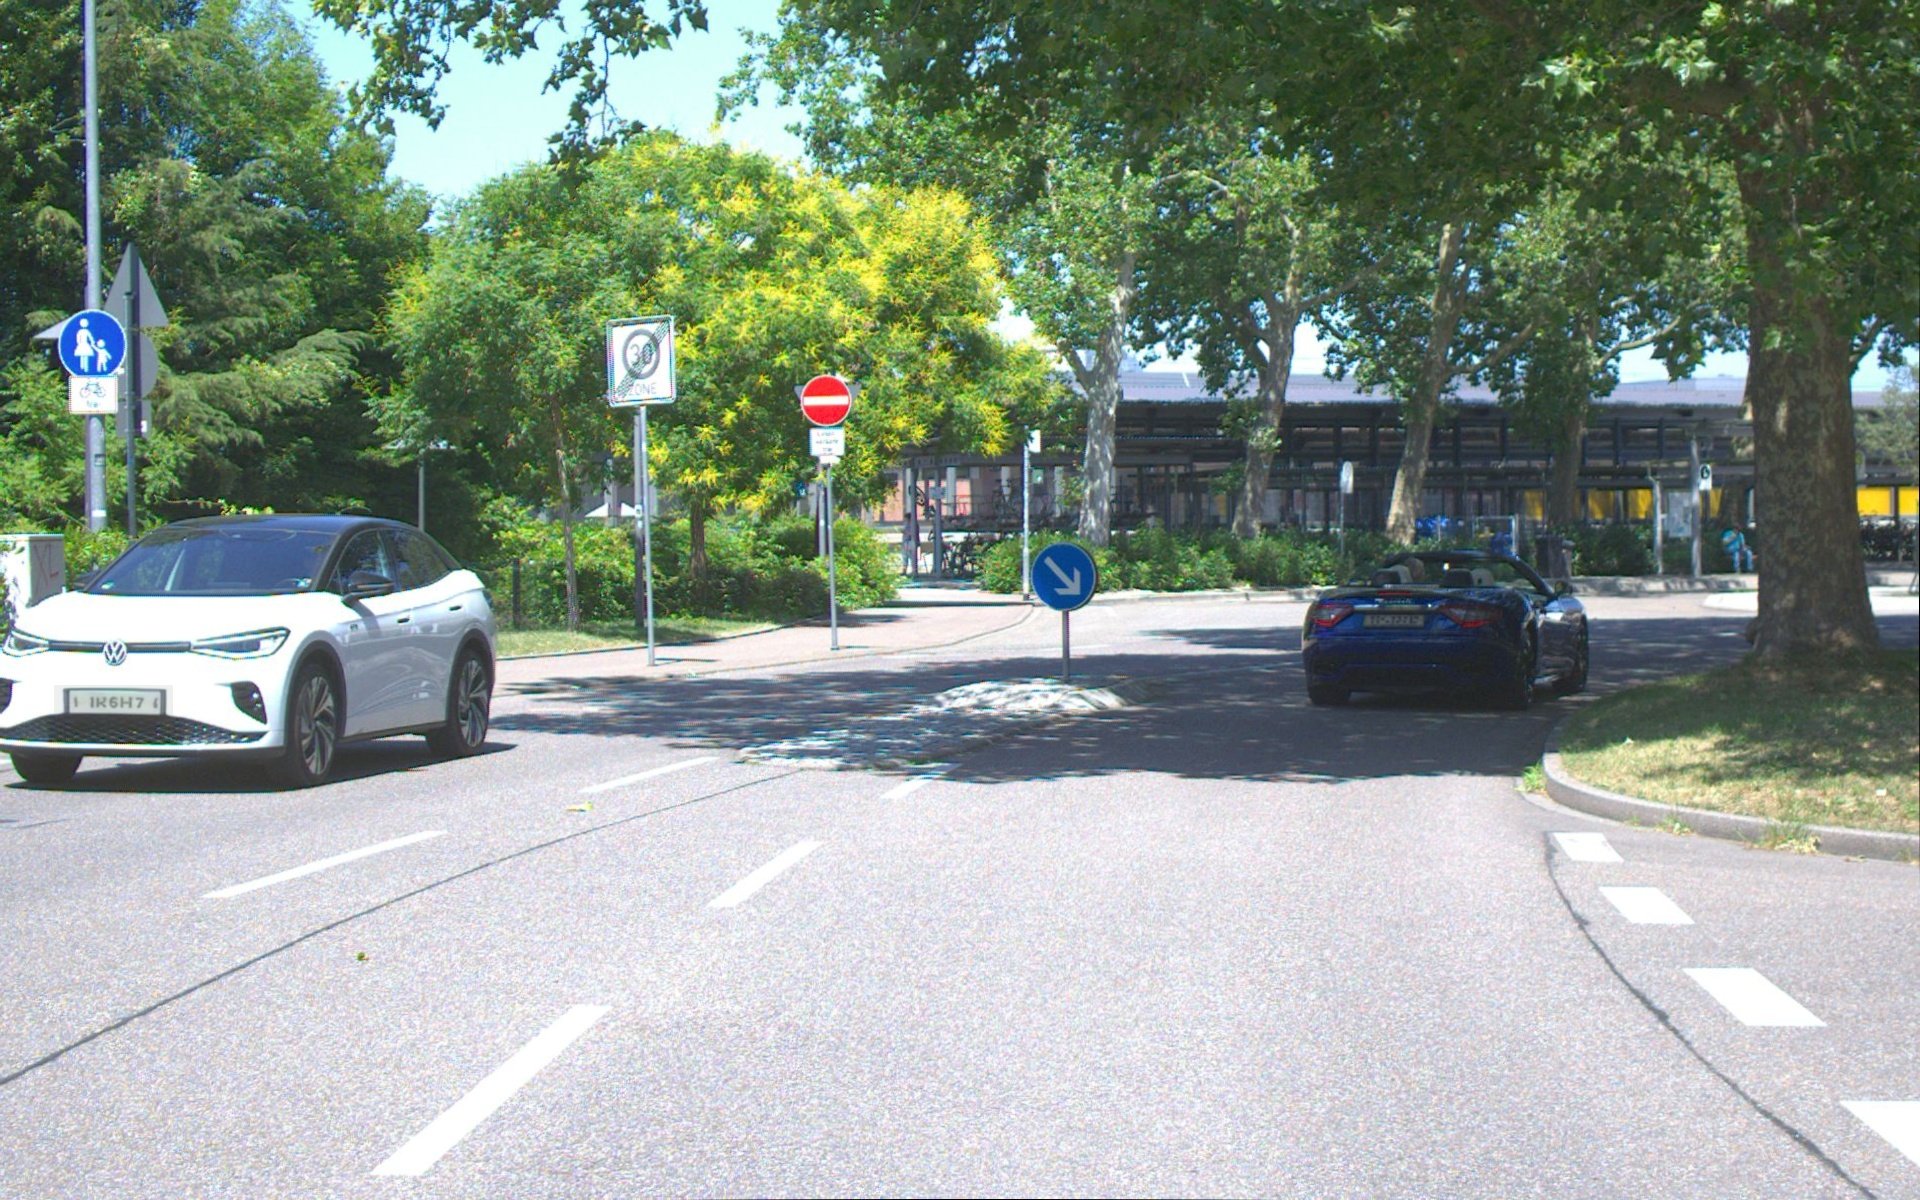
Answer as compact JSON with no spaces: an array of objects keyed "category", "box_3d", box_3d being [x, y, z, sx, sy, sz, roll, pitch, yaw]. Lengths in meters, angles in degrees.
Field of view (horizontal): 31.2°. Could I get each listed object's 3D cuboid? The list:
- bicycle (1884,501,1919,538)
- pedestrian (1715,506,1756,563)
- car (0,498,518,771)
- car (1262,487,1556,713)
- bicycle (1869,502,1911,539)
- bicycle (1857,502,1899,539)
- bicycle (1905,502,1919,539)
[{"category":"bicycle","box_3d":[27.737,-2.361,100.949,0.385,1.090,1.386,1,0,-24]},{"category":"pedestrian","box_3d":[20.086,-1.689,89.062,0.819,1.458,0.607,-1,1,-29]},{"category":"car","box_3d":[-4.391,0.125,21.660,1.845,1.525,4.337,0,2,12]},{"category":"car","box_3d":[4.027,-0.073,30.265,2.126,1.842,4.046,1,2,14]},{"category":"bicycle","box_3d":[27.802,-2.376,102.809,0.385,1.090,1.386,1,0,-25]},{"category":"bicycle","box_3d":[27.387,-2.380,102.567,0.385,1.090,1.386,1,0,-25]},{"category":"bicycle","box_3d":[28.488,-2.352,101.407,0.385,1.090,1.386,1,0,-25]}]
